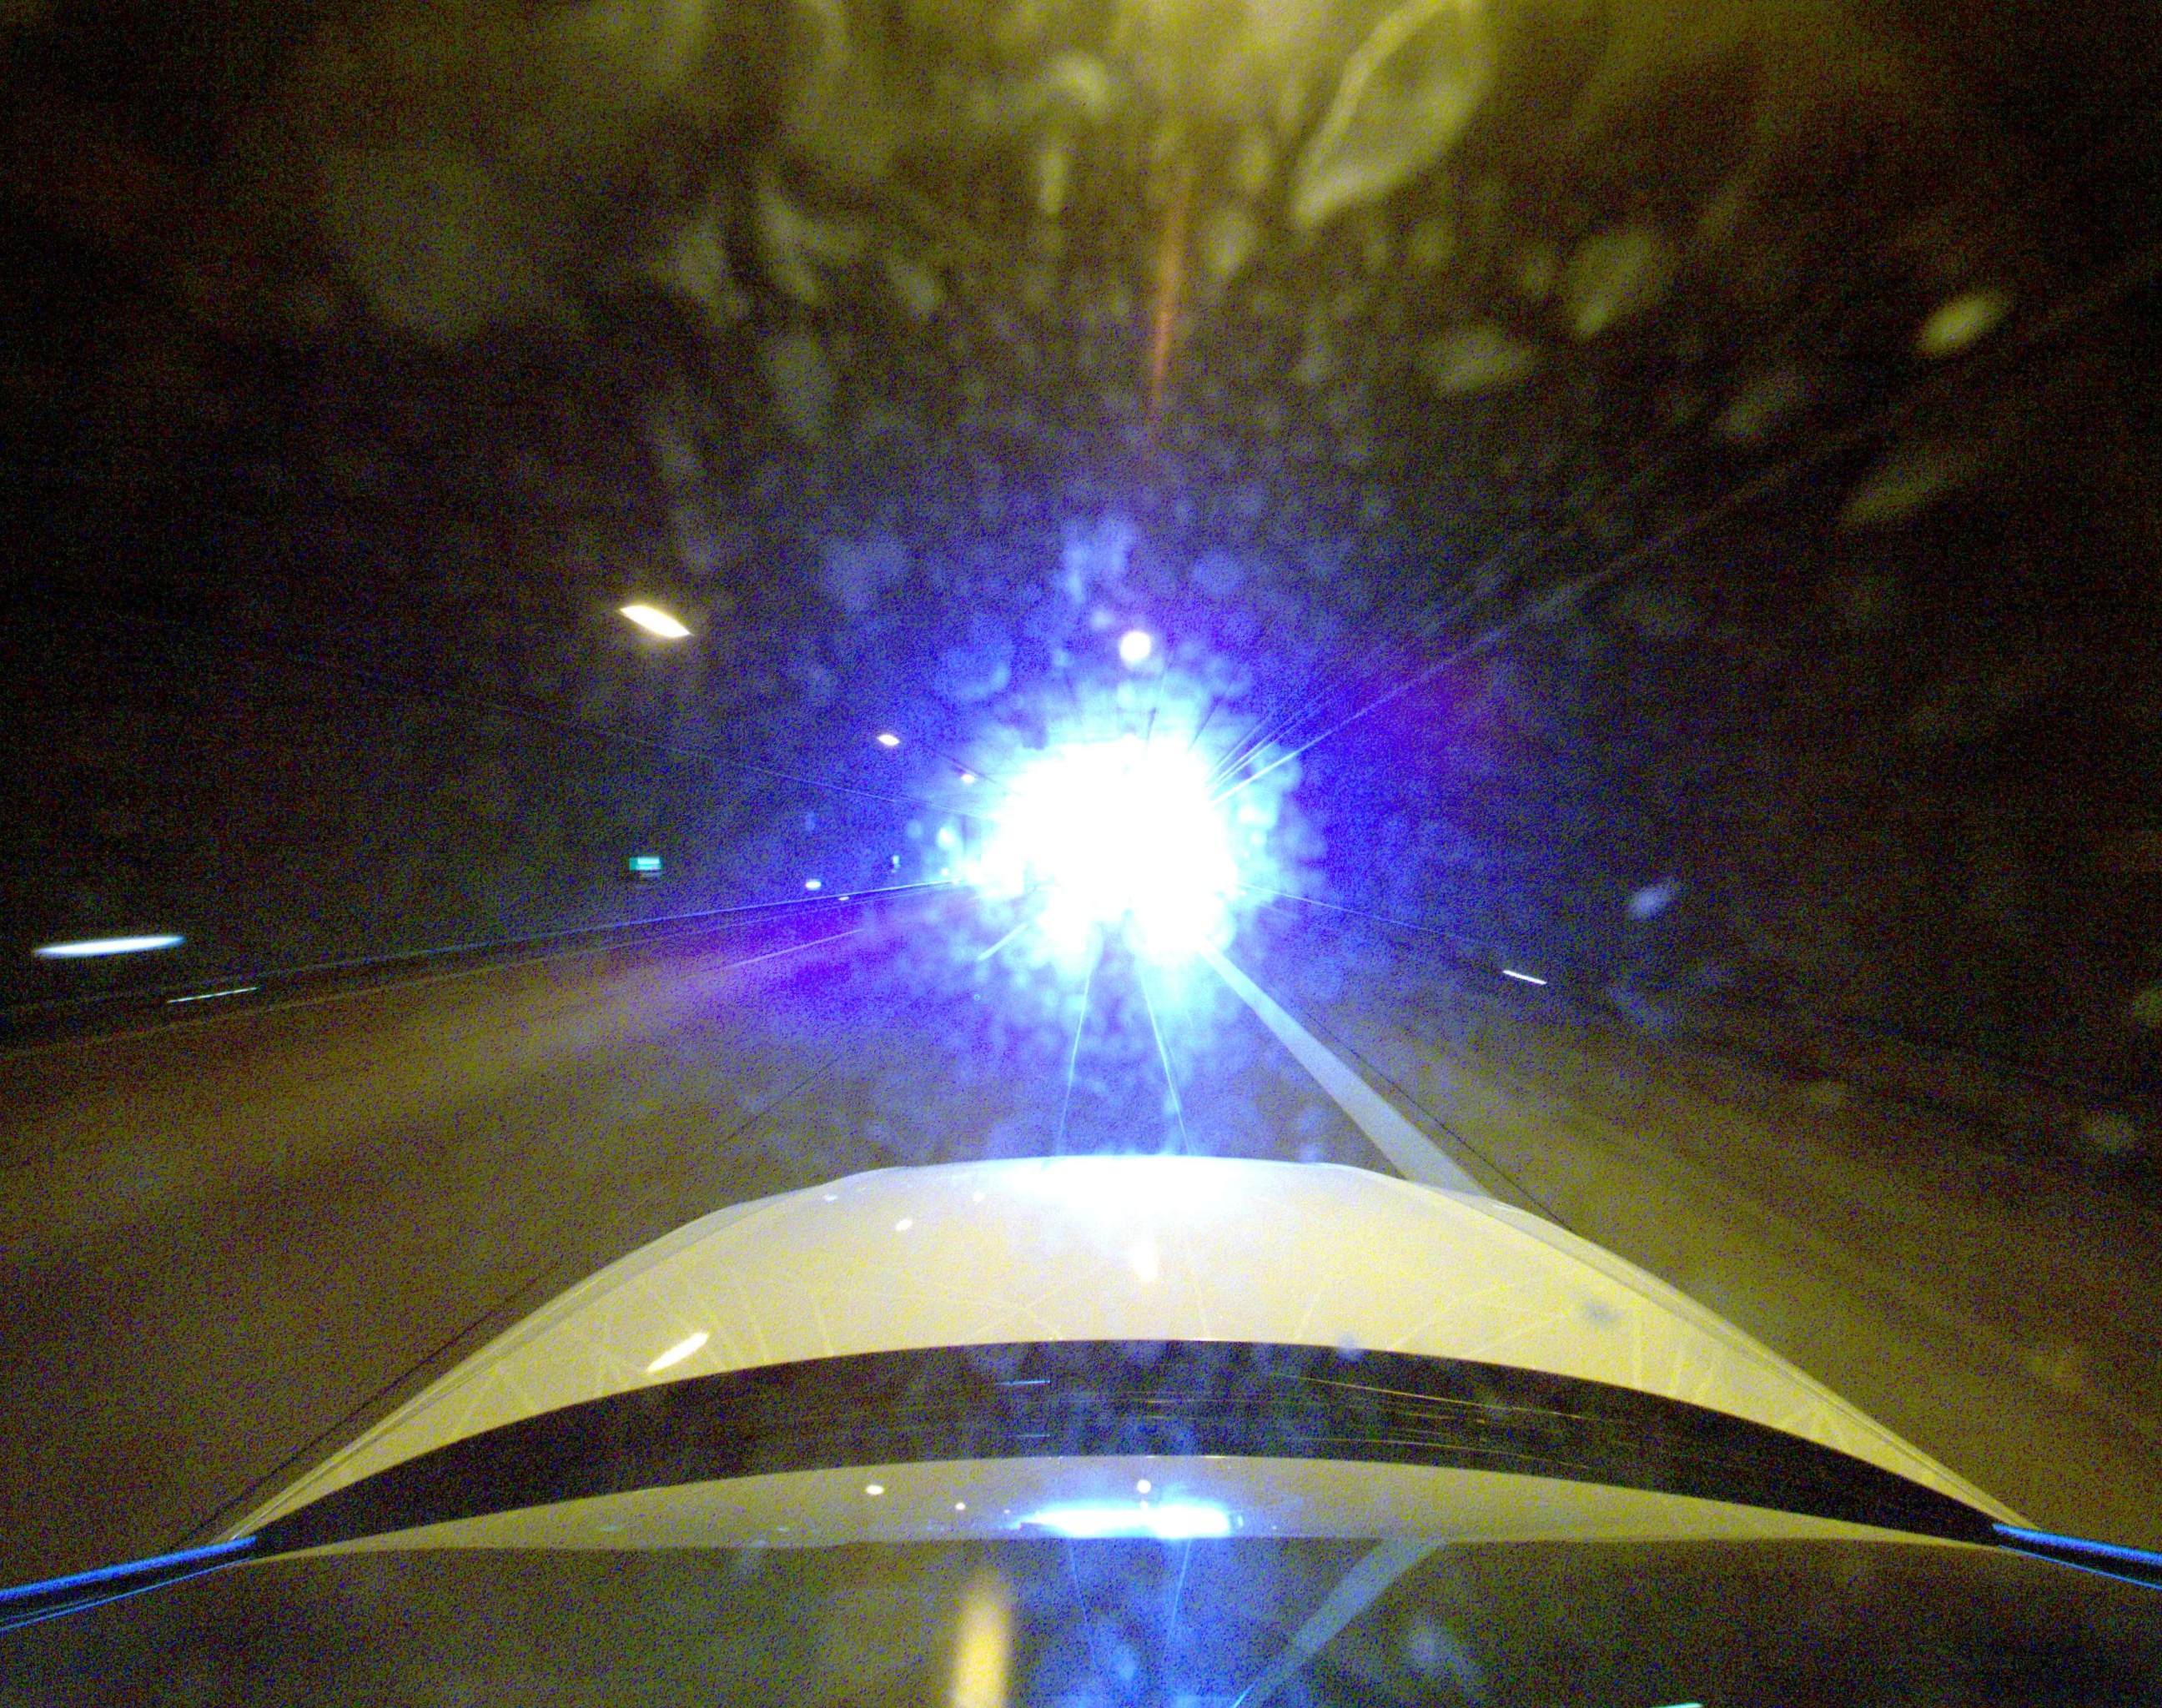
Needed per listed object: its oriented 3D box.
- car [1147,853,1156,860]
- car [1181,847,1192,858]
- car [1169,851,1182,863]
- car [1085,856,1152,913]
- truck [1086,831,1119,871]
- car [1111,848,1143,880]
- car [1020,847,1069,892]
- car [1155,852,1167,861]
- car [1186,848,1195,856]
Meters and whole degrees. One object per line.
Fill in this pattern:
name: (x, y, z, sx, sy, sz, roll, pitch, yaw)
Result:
car: (18.446, 0.662, 213.052, 1.918, 1.642, 4.012, -2, 0, 11)
car: (20.199, -0.258, 156.073, 1.982, 2.014, 4.009, -2, -3, 9)
car: (14.784, 0.523, 127.287, 1.920, 1.643, 4.007, -2, -3, 7)
car: (1.057, 0.805, 23.432, 1.736, 1.464, 3.873, -2, 0, 2)
truck: (2.229, -0.274, 80.447, 3.027, 3.673, 7.397, -2, 0, 3)
car: (2.856, 0.598, 49.841, 1.849, 1.854, 4.005, -2, 0, 4)
car: (-1.628, 0.683, 37.567, 1.902, 1.944, 3.873, -2, 0, 2)
car: (16.265, 0.493, 165.116, 1.981, 1.632, 4.011, -2, -2, 10)
car: (25.876, -0.490, 192.693, 1.919, 1.642, 4.010, -2, 0, 9)
